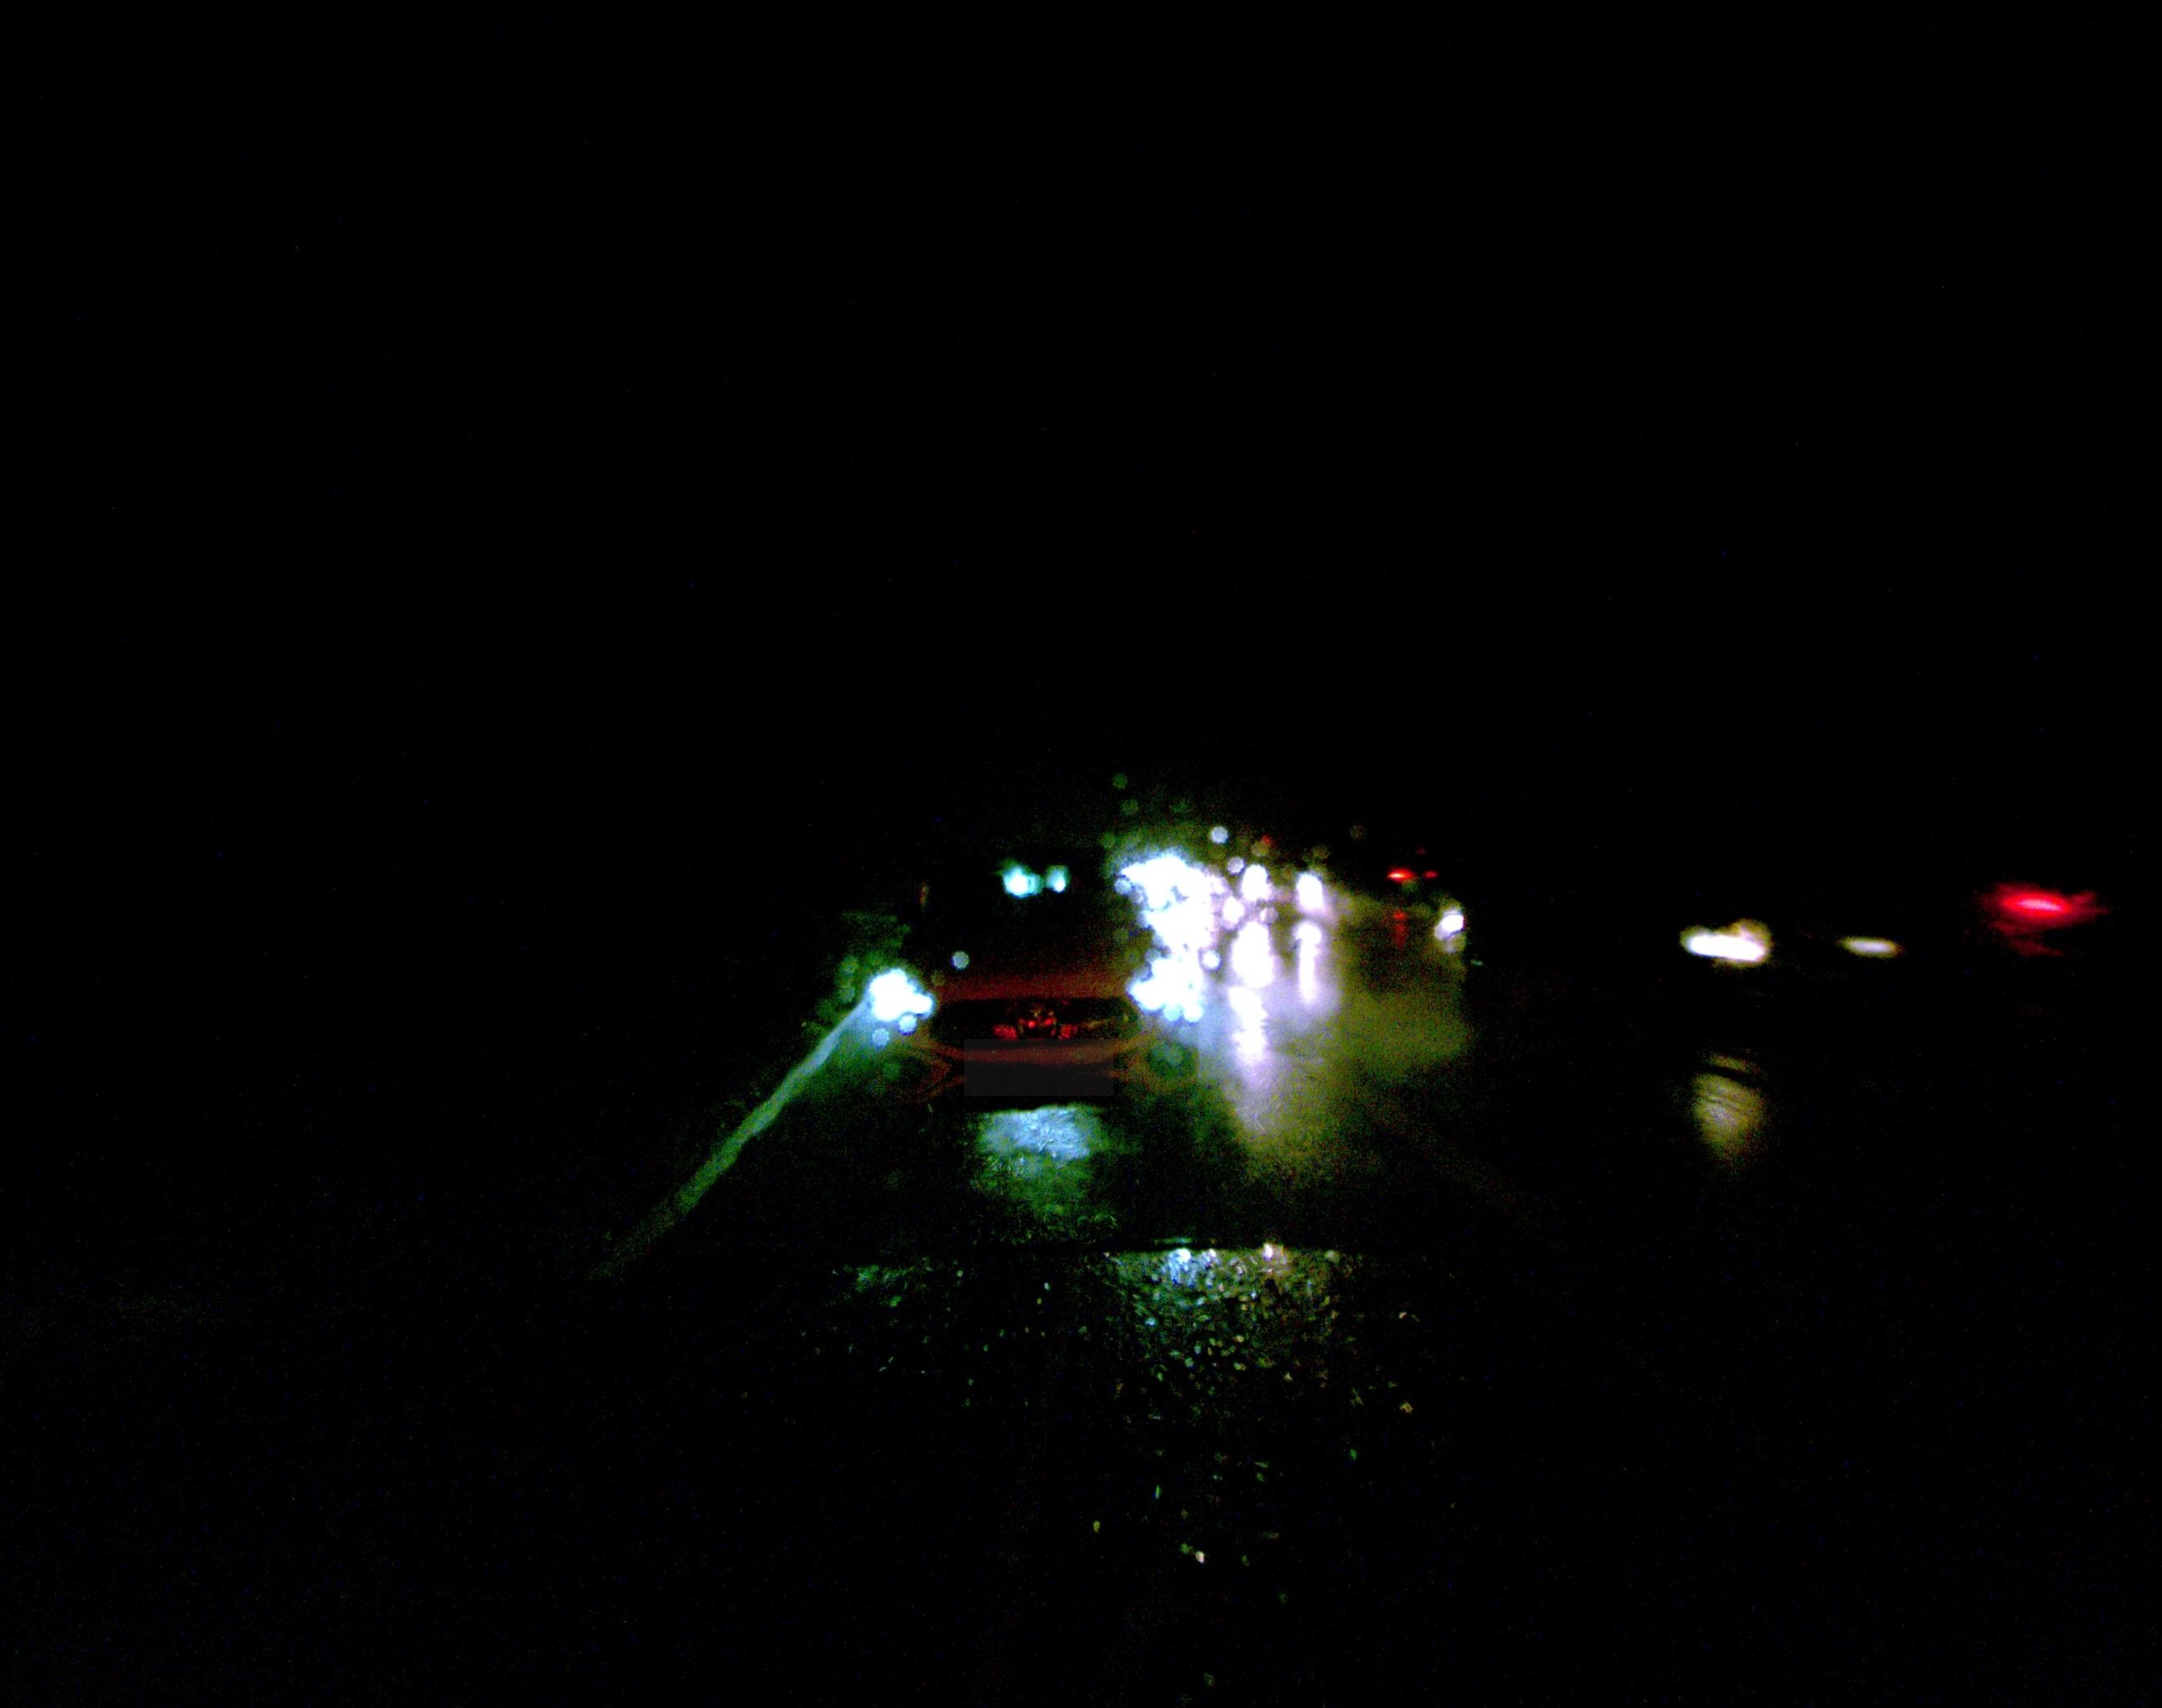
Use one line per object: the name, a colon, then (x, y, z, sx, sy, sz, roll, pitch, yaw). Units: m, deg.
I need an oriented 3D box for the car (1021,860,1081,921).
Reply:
car: (-0.967, 1.064, 23.572, 1.656, 1.624, 3.948, -2, 1, -4)

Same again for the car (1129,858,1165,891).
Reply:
car: (4.021, 1.229, 46.713, 1.746, 1.791, 4.080, -2, 1, -1)

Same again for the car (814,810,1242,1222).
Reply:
car: (-0.376, 0.743, 5.848, 2.004, 1.914, 4.367, -2, 1, -4)

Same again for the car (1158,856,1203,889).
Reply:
car: (4.908, 0.879, 37.835, 1.680, 1.437, 4.174, -2, 1, 0)

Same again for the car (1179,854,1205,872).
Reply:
car: (11.847, 0.920, 81.405, 1.858, 1.728, 4.637, -2, 1, -2)

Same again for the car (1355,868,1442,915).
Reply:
car: (14.391, 1.636, 34.712, 1.999, 1.824, 4.205, -2, 1, -3)

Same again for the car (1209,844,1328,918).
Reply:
car: (5.045, 0.666, 21.178, 1.999, 1.782, 4.720, -2, 0, -2)

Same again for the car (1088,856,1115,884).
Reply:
car: (1.445, 1.106, 54.147, 1.781, 1.820, 4.557, -2, 1, 1)

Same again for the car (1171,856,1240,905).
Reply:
car: (4.620, 0.925, 28.826, 1.788, 1.586, 4.235, 0, 2, -2)

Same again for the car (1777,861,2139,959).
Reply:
car: (18.547, 1.058, 16.515, 2.036, 1.781, 4.782, -1, 0, -10)

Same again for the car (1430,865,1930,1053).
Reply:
car: (5.762, 0.858, 8.118, 1.836, 1.399, 4.119, -1, 0, -6)
